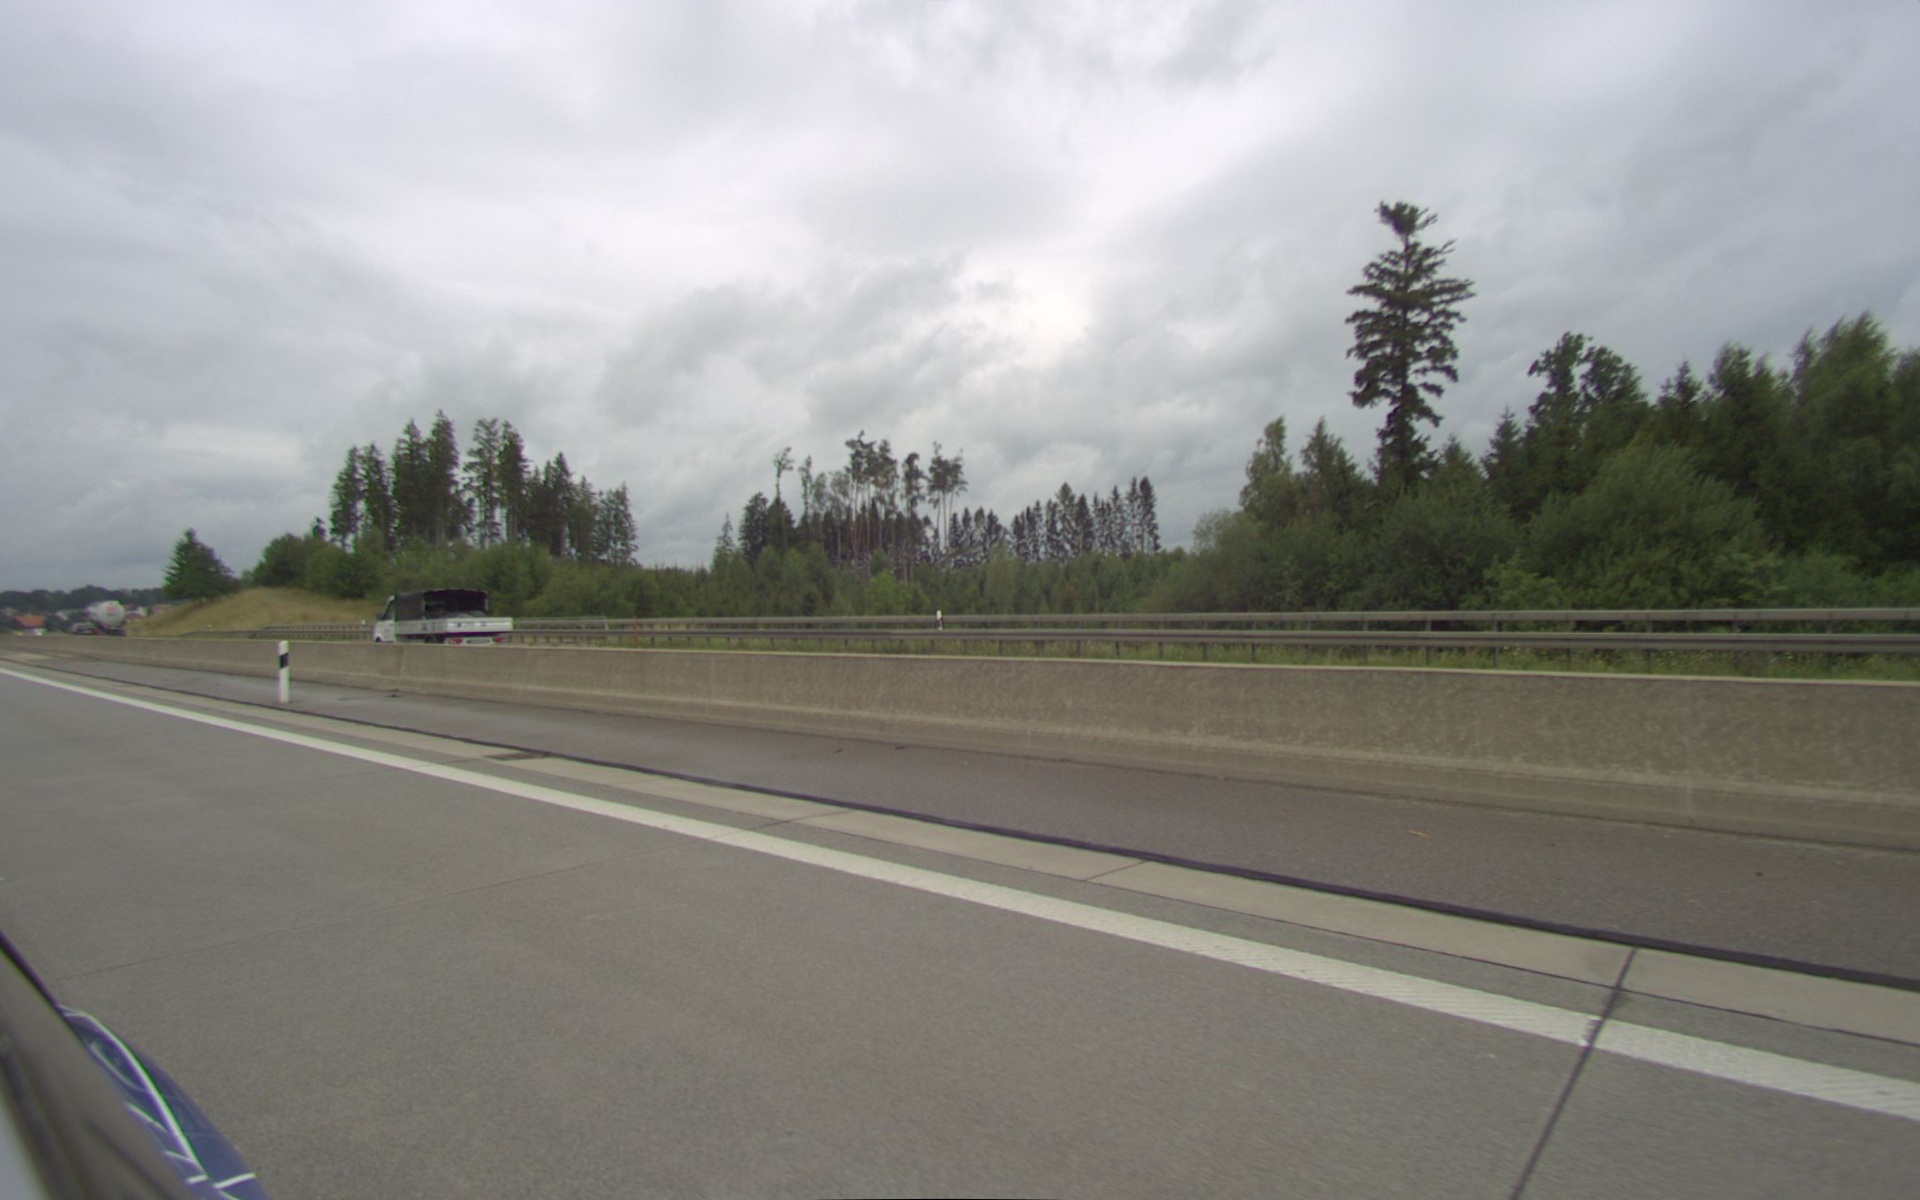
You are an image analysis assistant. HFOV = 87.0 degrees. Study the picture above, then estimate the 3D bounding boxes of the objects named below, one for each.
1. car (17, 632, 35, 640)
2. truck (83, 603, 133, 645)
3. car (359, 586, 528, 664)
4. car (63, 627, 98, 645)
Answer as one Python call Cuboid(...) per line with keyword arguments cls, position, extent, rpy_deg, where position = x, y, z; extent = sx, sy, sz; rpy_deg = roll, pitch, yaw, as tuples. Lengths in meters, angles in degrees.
Cuboid(cls="car", position=(-151.069, 5.794, 163.609), extent=(4.361, 1.297, 1.923), rpy_deg=(-2, -1, 44))
Cuboid(cls="truck", position=(-88.533, 2.500, 105.048), extent=(8.849, 4.164, 2.806), rpy_deg=(-2, -1, 42))
Cuboid(cls="car", position=(-17.764, 0.825, 34.561), extent=(7.514, 2.418, 2.593), rpy_deg=(-1, -1, 42))
Cuboid(cls="car", position=(-77.816, 3.148, 89.510), extent=(5.090, 1.545, 1.808), rpy_deg=(-2, -1, 44))
